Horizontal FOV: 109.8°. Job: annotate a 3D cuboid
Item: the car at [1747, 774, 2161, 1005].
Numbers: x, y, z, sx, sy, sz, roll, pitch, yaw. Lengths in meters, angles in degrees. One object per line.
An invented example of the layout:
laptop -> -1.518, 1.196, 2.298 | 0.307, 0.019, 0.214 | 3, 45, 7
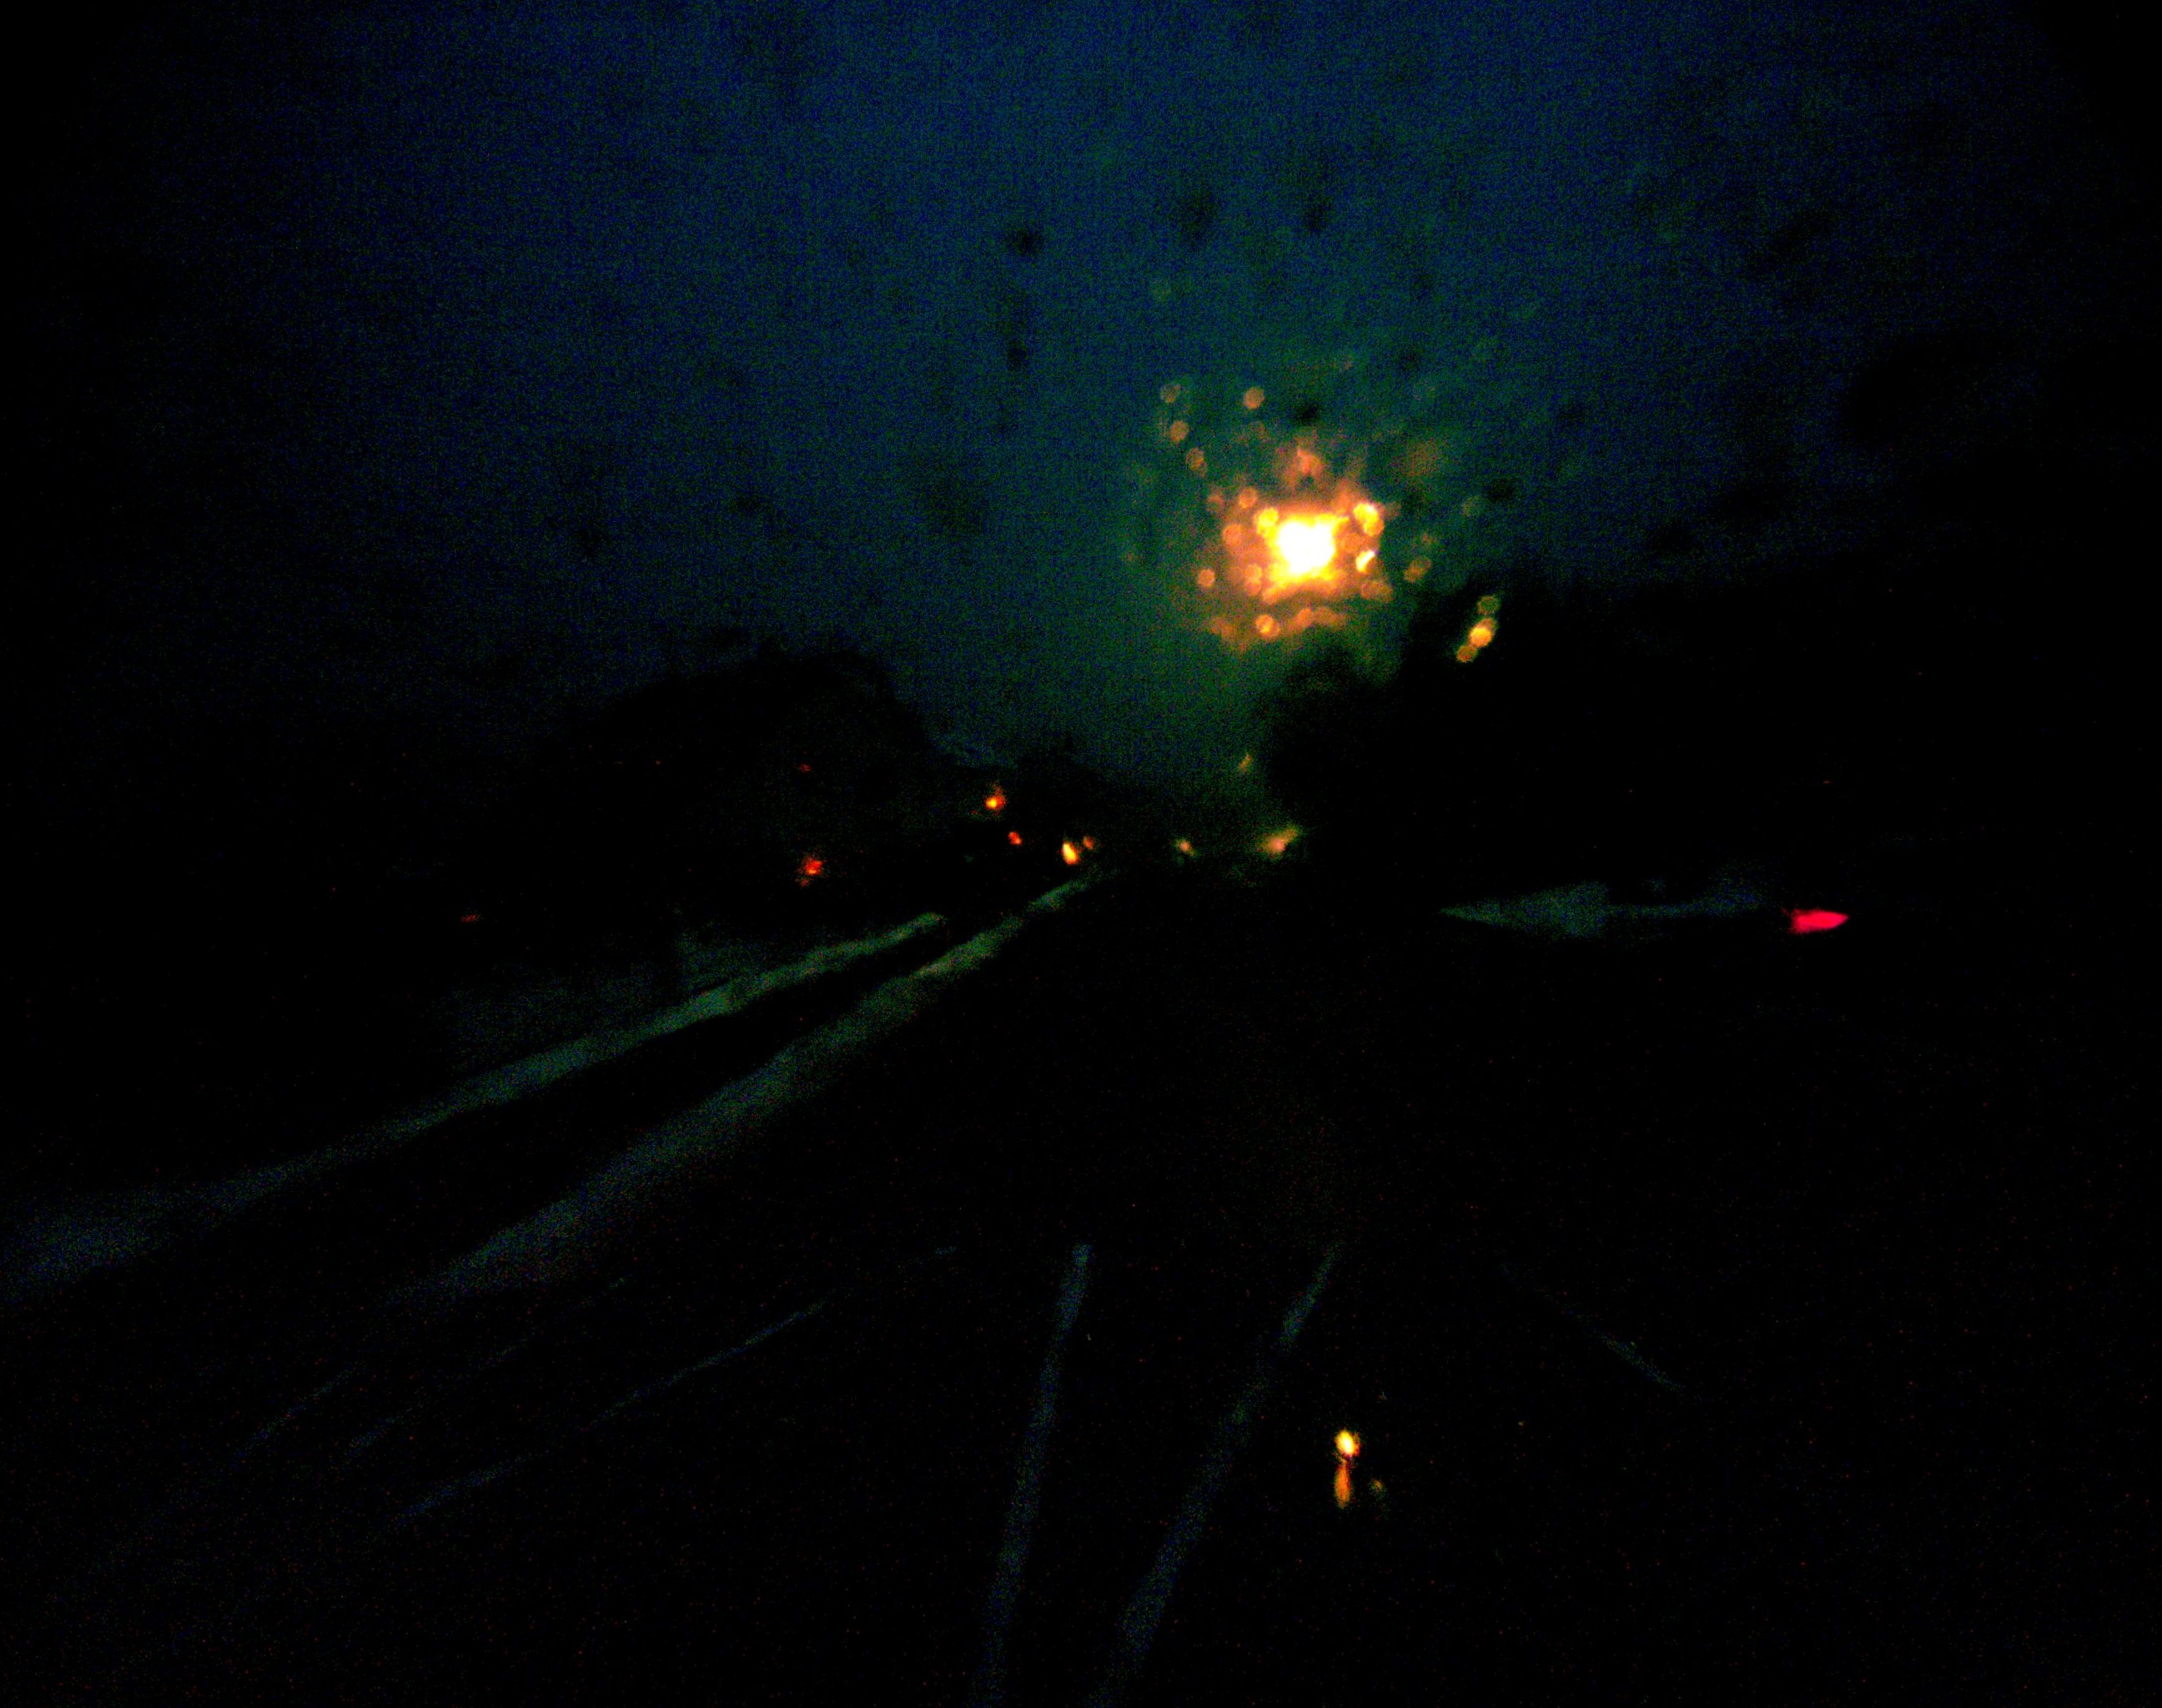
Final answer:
car -> 8.642, 0.269, 6.592 | 3.991, 1.600, 1.906 | -8, 2, 35

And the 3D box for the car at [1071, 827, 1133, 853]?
car -> 1.578, -1.072, 56.854 | 4.209, 1.848, 1.914 | 0, 3, 24
